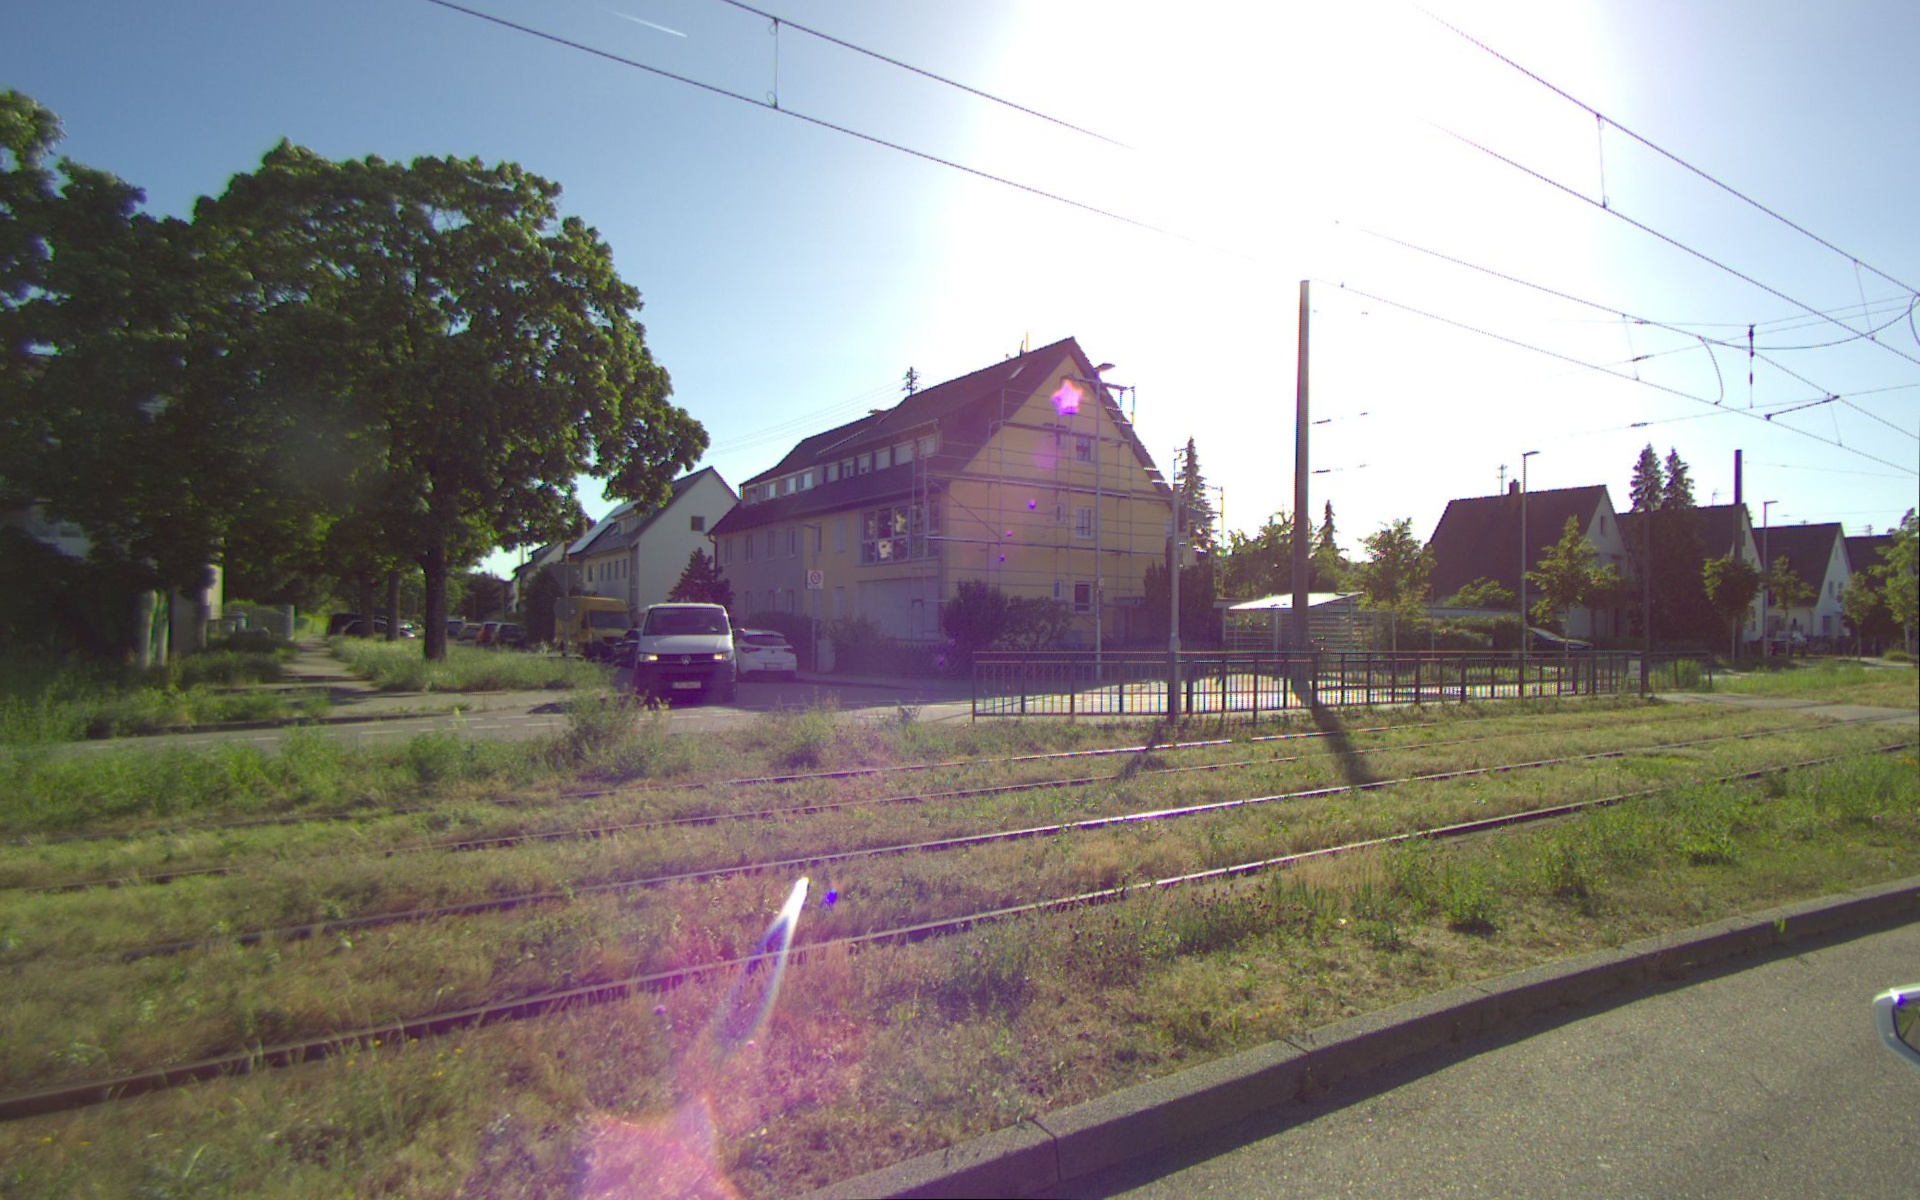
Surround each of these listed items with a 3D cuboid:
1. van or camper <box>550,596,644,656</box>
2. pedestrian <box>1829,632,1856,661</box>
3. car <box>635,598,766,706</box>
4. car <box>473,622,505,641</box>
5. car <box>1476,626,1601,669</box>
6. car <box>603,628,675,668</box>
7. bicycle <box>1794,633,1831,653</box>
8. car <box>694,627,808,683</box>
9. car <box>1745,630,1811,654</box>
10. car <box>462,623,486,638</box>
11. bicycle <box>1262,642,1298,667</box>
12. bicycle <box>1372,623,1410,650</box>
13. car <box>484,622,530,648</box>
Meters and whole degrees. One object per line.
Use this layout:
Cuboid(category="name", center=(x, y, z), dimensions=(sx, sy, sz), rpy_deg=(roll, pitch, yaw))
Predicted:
Cuboid(category="van or camper", center=(-16.136, 1.065, 44.300), dimensions=(2.091, 2.380, 7.184), rpy_deg=(2, 0, -35))
Cuboid(category="pedestrian", center=(50.855, 2.664, 57.882), dimensions=(1.074, 1.662, 0.959), rpy_deg=(2, -1, -34))
Cuboid(category="car", center=(-5.165, 0.997, 20.606), dimensions=(1.868, 1.940, 4.698), rpy_deg=(1, -1, -6))
Cuboid(category="car", center=(-32.244, 2.127, 68.695), dimensions=(1.396, 1.267, 3.254), rpy_deg=(1, -2, -36))
Cuboid(category="car", center=(25.748, 2.081, 44.796), dimensions=(2.039, 1.757, 4.495), rpy_deg=(2, -2, -44))
Cuboid(category="car", center=(-11.845, 1.734, 36.969), dimensions=(1.544, 1.364, 3.707), rpy_deg=(2, -2, -34))
Cuboid(category="bicycle", center=(61.695, 3.091, 72.691), dimensions=(0.699, 1.384, 1.972), rpy_deg=(2, -1, -39))
Cuboid(category="car", center=(-6.106, 1.562, 29.069), dimensions=(1.834, 1.422, 3.962), rpy_deg=(4, -3, -34))
Cuboid(category="car", center=(52.991, 2.742, 65.062), dimensions=(5.109, 1.469, 1.923), rpy_deg=(2, -1, -34))
Cuboid(category="car", center=(-38.704, 2.418, 79.954), dimensions=(1.227, 1.140, 2.940), rpy_deg=(1, -2, -36))
Cuboid(category="bicycle", center=(11.079, 1.885, 34.799), dimensions=(1.493, 0.832, 0.309), rpy_deg=(2, 0, -34))
Cuboid(category="bicycle", center=(16.038, 1.354, 37.341), dimensions=(1.731, 0.954, 0.420), rpy_deg=(2, 0, -34))
Cuboid(category="car", center=(-28.739, 2.200, 63.669), dimensions=(1.861, 1.570, 3.959), rpy_deg=(1, -2, -36))
